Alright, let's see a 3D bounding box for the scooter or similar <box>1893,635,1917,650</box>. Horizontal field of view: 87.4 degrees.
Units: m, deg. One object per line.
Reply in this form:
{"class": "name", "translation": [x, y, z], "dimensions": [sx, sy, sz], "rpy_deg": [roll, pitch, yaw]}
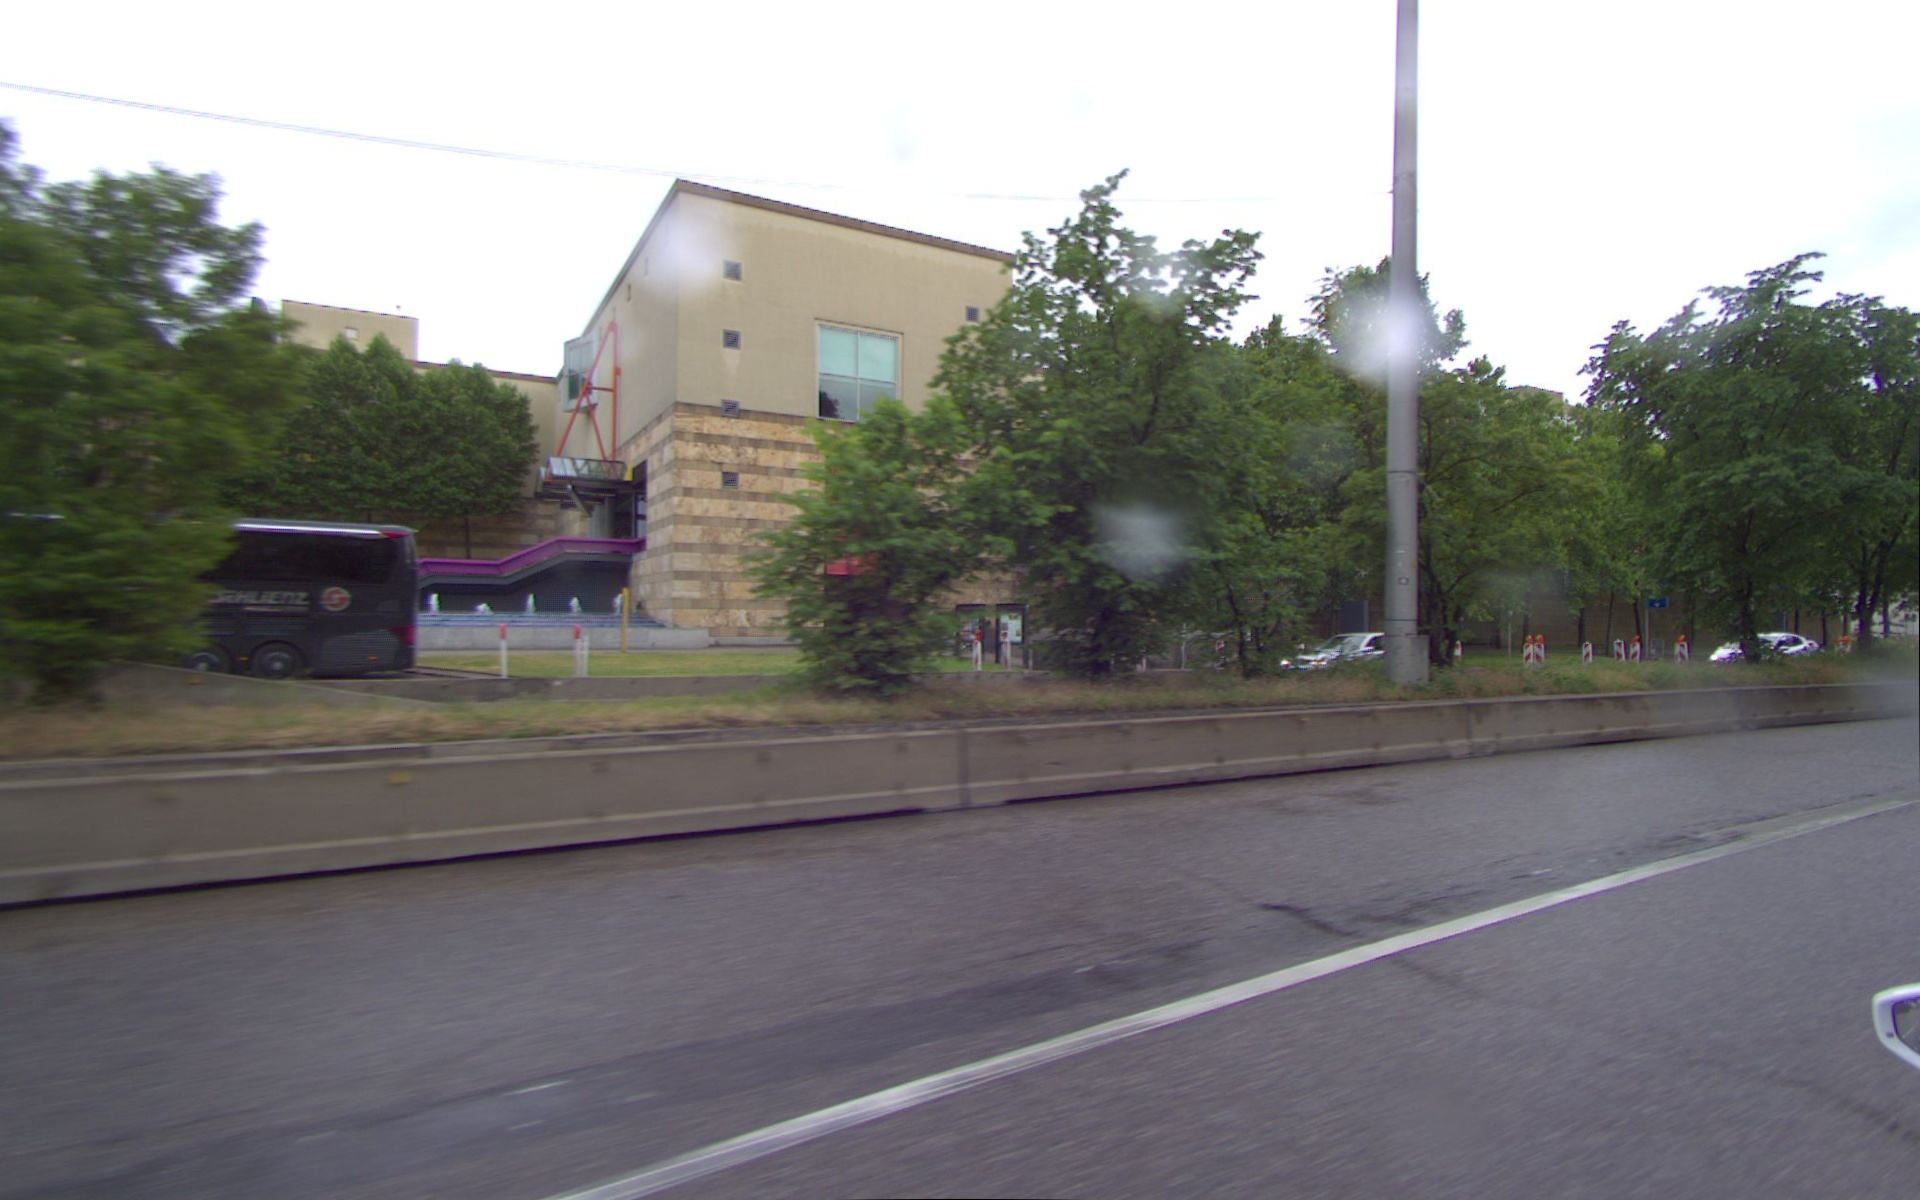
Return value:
{"class": "scooter or similar", "translation": [87.627, 3.914, 93.168], "dimensions": [1.644, 1.369, 0.714], "rpy_deg": [1, -3, -8]}

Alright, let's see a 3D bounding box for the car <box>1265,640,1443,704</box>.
{"class": "car", "translation": [10.861, 1.968, 27.636], "dimensions": [4.749, 1.646, 1.986], "rpy_deg": [3, -3, -28]}

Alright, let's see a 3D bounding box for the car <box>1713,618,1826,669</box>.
{"class": "car", "translation": [26.049, 1.377, 32.293], "dimensions": [3.885, 1.528, 1.538], "rpy_deg": [2, -1, -30]}

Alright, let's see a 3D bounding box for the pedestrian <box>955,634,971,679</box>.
{"class": "pedestrian", "translation": [0.127, 2.554, 45.531], "dimensions": [0.506, 2.040, 0.475], "rpy_deg": [2, -3, -30]}

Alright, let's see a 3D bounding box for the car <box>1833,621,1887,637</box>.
{"class": "car", "translation": [96.617, 3.148, 107.848], "dimensions": [1.977, 1.617, 3.968], "rpy_deg": [2, -1, -30]}

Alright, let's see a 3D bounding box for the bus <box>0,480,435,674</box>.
{"class": "bus", "translation": [-19.464, -0.473, 21.524], "dimensions": [14.408, 3.862, 2.794], "rpy_deg": [2, 1, -27]}
